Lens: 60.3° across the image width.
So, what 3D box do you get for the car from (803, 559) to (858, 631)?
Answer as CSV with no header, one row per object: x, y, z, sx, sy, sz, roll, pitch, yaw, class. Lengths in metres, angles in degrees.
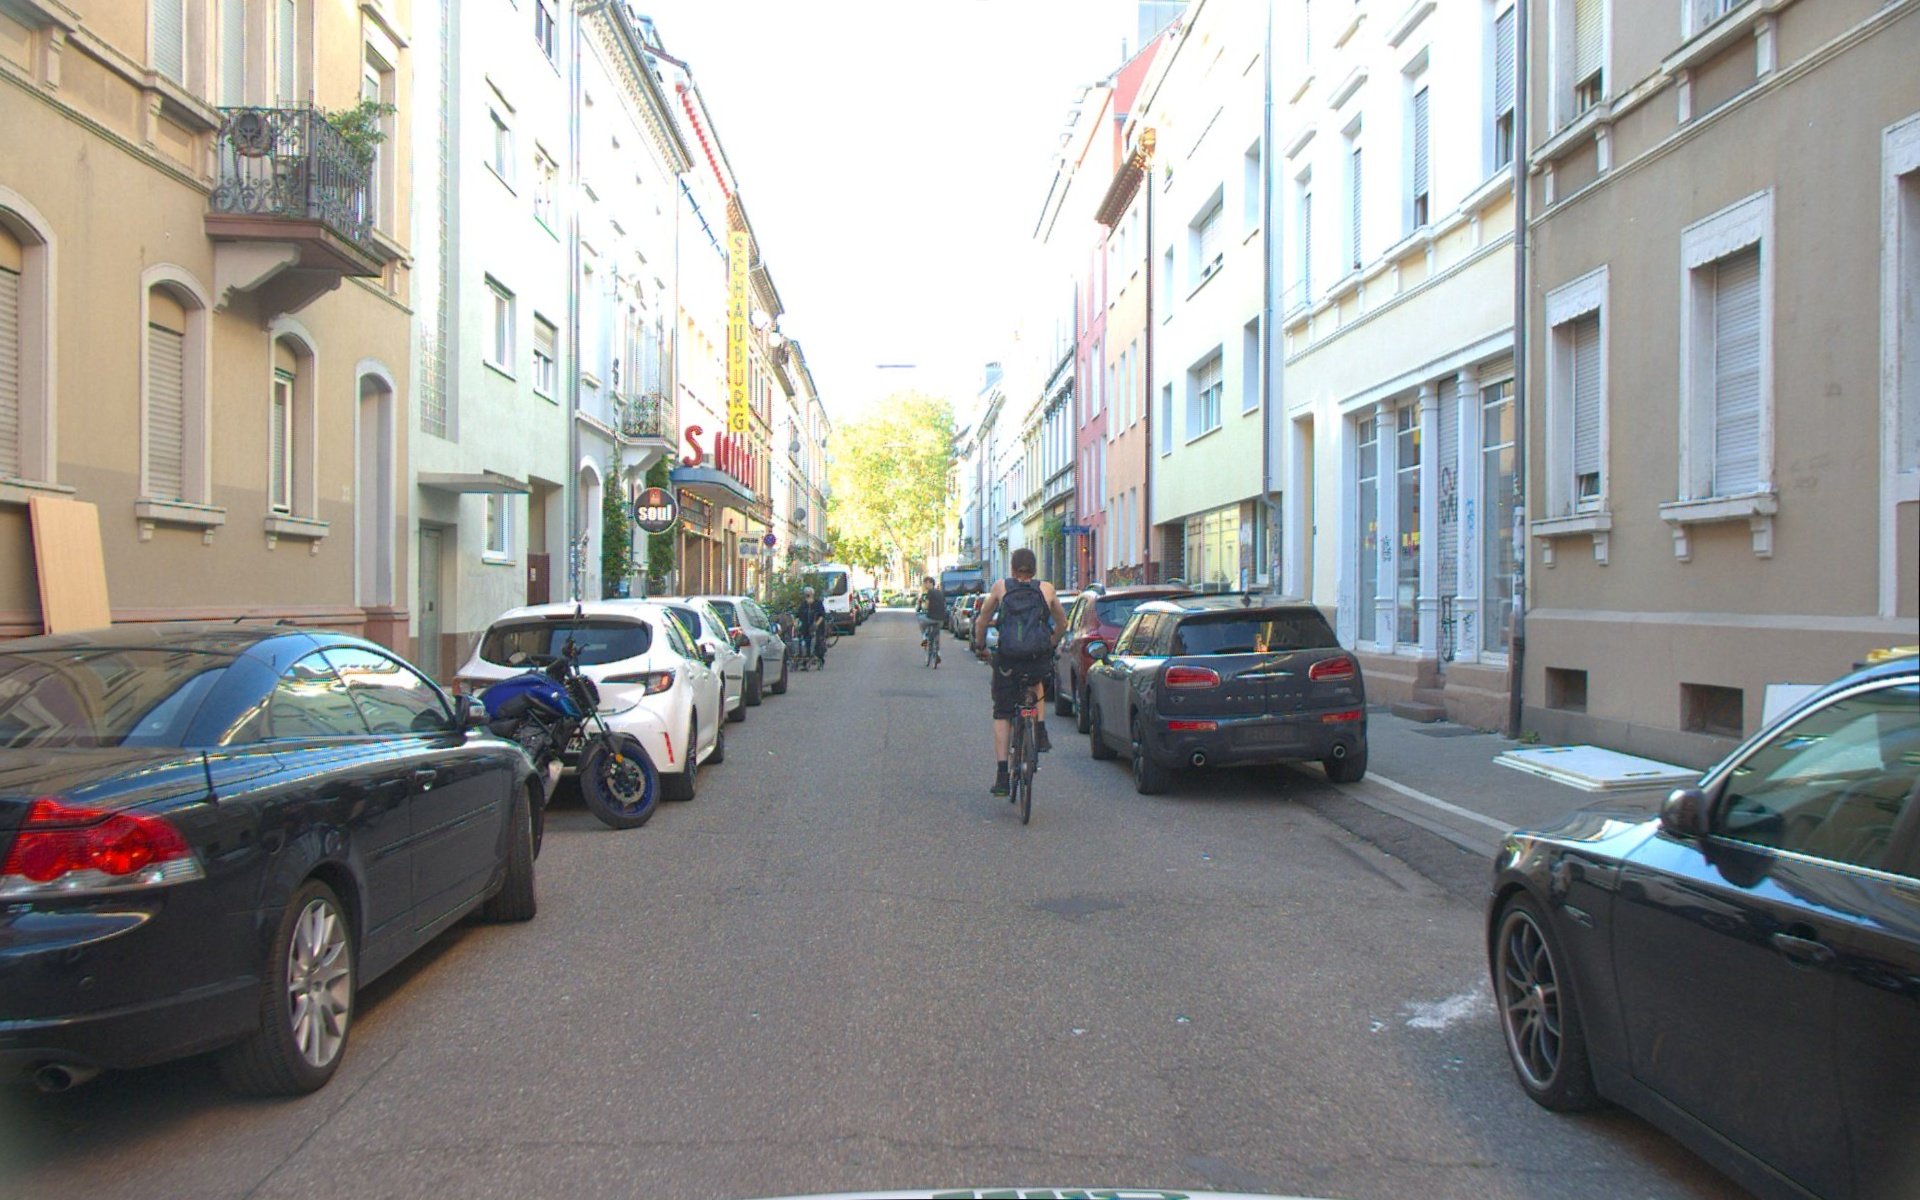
-4.720,-0.189,60.447,1.872,2.540,4.162,-1,0,-4,car

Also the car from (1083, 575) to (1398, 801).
2.178,0.637,13.935,1.780,1.548,3.998,-2,0,-2,car

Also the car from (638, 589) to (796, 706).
-3.389,0.628,23.675,1.638,1.467,3.754,-2,0,0,car

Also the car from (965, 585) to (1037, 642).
1.075,0.369,45.086,1.676,1.418,3.998,-2,0,-2,car

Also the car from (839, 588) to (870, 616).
-5.941,0.128,93.436,1.638,1.467,4.163,-2,0,-2,car

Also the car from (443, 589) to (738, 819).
-2.752,0.702,13.175,1.639,1.467,4.161,-2,0,-4,car

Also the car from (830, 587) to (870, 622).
-4.946,0.205,74.909,1.638,1.467,4.163,-2,0,-2,car

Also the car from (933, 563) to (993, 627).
0.078,-0.198,72.085,2.261,2.582,6.766,-2,0,-2,car

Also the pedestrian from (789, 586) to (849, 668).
-2.799,0.532,32.780,0.891,1.606,0.762,1,-1,-38,pedestrian

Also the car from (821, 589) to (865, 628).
-4.745,0.357,67.410,1.638,1.467,4.163,-2,0,-2,car

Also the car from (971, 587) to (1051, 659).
1.180,0.520,39.633,1.588,1.577,3.998,-2,0,-2,car

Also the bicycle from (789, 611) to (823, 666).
-3.299,0.804,35.278,0.686,1.125,2.271,1,0,-6,bicycle

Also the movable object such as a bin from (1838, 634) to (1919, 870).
4.978,0.724,8.257,0.790,1.094,0.678,-3,0,2,movable object such as a bin

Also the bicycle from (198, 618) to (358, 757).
-5.936,0.722,14.520,0.580,1.108,2.078,1,0,-2,bicycle

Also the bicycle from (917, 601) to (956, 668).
-0.487,0.682,33.554,0.688,1.229,2.341,2,1,-3,bicycle

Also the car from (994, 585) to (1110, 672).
1.606,0.482,30.059,1.676,1.407,3.998,-2,0,-2,car

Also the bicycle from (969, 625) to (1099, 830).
0.466,0.806,11.395,0.688,1.229,2.341,1,0,-2,bicycle

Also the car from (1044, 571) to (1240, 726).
2.050,0.524,19.680,1.676,1.583,3.998,-2,0,-2,car

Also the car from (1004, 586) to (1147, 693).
1.660,0.552,24.979,1.676,1.407,3.998,-2,0,-2,car

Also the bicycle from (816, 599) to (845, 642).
-3.728,0.569,47.378,0.743,1.184,2.271,1,0,-6,bicycle

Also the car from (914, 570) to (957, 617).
-1.484,-0.340,97.480,2.261,2.582,6.766,-2,0,-2,car

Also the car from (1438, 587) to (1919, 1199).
2.680,0.712,3.430,1.780,1.463,4.788,-2,0,-2,car

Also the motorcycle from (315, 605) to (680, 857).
-2.908,0.784,10.483,2.115,1.383,0.537,-3,1,-21,motorcycle

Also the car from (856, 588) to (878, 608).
-7.227,-0.178,128.735,1.638,1.467,4.163,-2,0,-2,car

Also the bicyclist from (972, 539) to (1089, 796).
0.463,0.441,11.301,0.688,1.662,1.089,1,0,-2,bicyclist

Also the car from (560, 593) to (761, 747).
-3.220,0.701,18.417,1.638,1.467,3.766,-2,0,-2,car

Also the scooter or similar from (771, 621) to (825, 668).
-3.179,0.869,32.463,0.763,0.888,0.762,1,-1,-38,scooter or similar

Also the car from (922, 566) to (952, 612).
-2.030,-0.948,144.864,2.261,3.833,6.766,-2,0,-2,car

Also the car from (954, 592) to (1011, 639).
0.738,0.504,56.510,1.676,1.472,3.998,-2,0,-2,car

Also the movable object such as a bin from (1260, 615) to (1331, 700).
4.564,0.771,22.539,0.790,1.094,0.678,-3,0,2,movable object such as a bin

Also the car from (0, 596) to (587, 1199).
-2.704,0.741,6.003,1.675,1.407,4.356,-2,1,0,car

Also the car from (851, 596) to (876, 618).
-6.775,0.489,116.167,1.638,1.467,4.163,-2,0,-2,car

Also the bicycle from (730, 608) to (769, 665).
-4.489,0.769,35.337,0.743,1.154,2.271,1,0,-6,bicycle

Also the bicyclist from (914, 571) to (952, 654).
-0.548,0.241,33.399,0.688,1.633,0.812,2,1,-3,bicyclist
